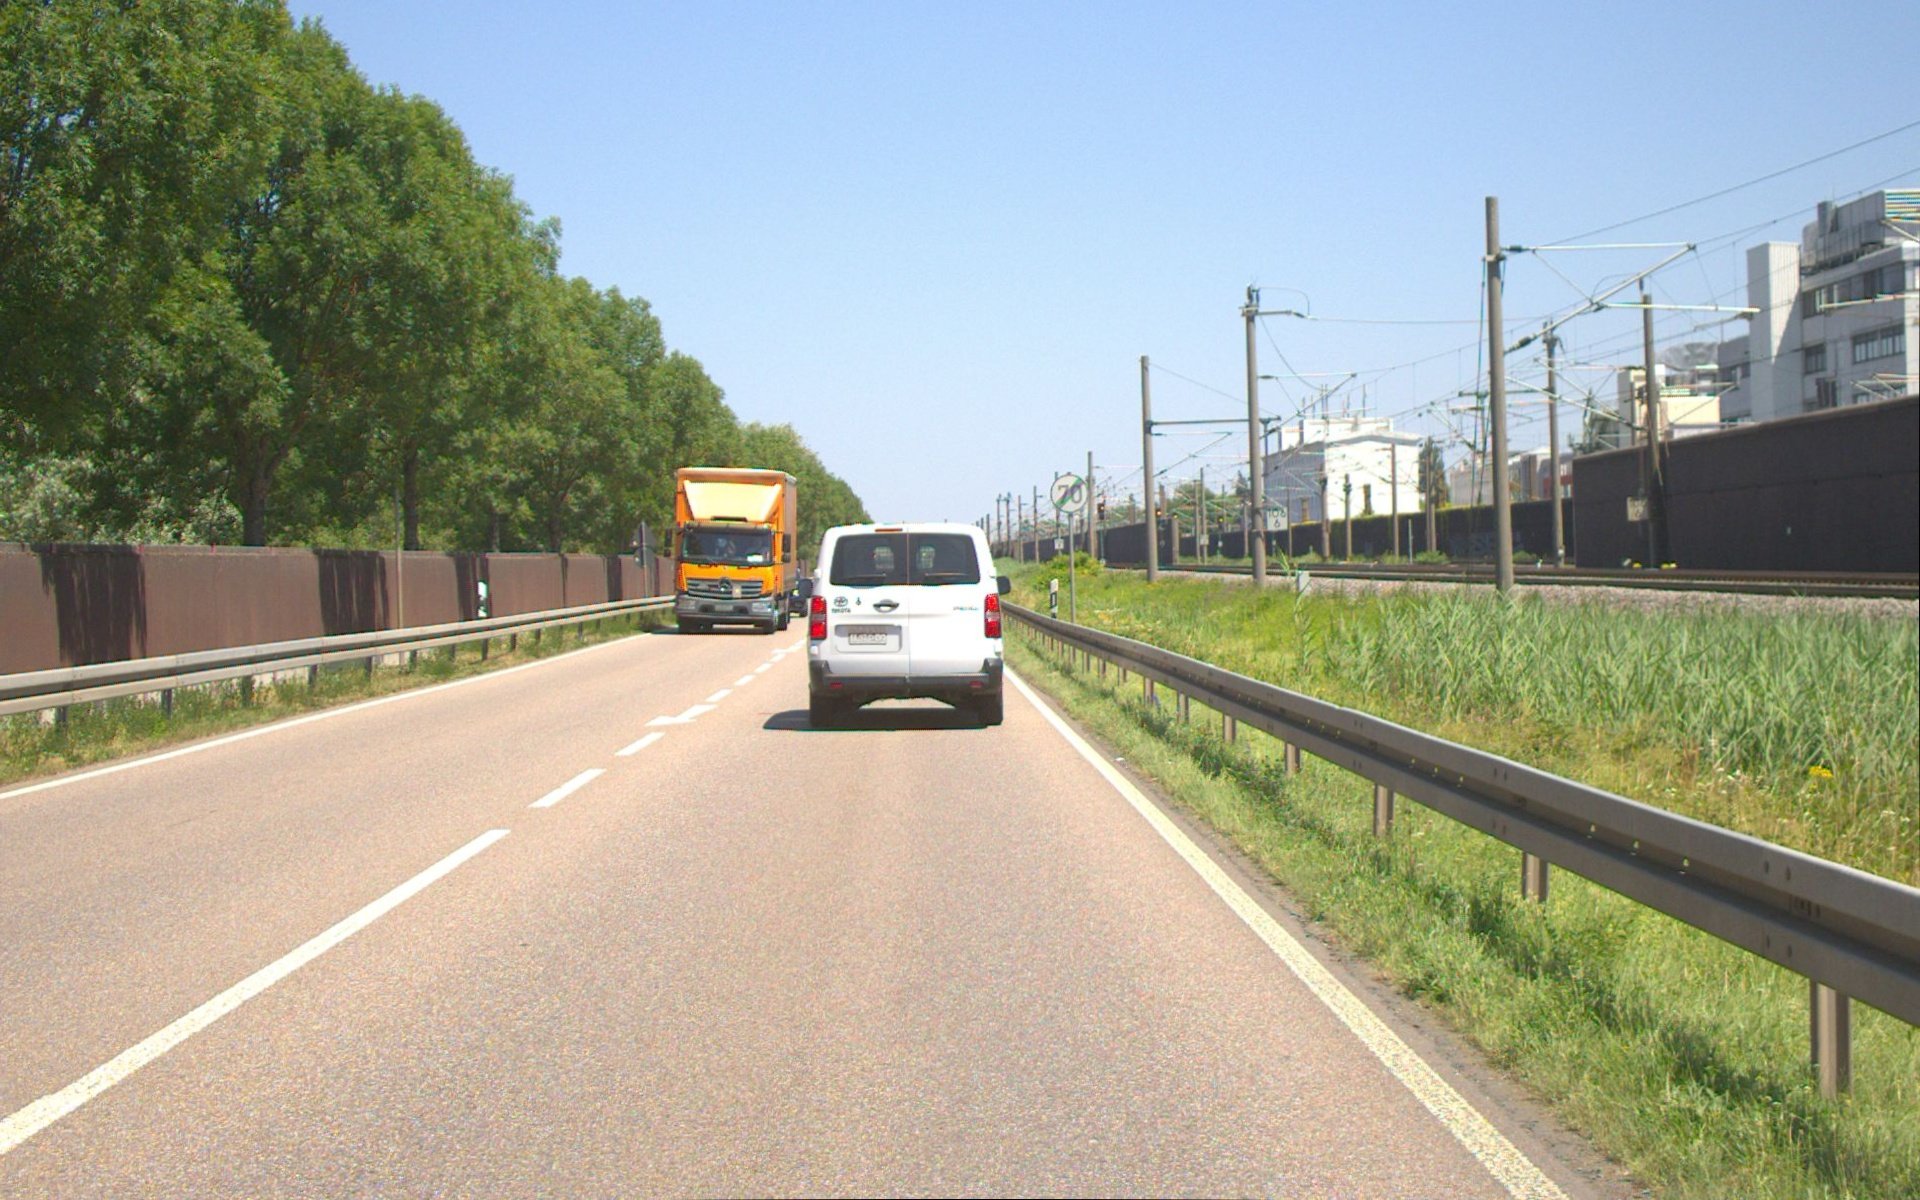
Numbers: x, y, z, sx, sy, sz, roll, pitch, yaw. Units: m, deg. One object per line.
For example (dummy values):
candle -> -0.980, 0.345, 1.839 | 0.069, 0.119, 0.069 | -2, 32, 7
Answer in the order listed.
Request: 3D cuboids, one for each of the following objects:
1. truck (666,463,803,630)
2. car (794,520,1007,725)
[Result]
truck -> -5.385, -1.267, 83.535 | 2.792, 3.827, 9.324 | 0, 0, -1
car -> -0.579, 0.191, 33.947 | 1.945, 1.875, 4.881 | 0, 0, -1
